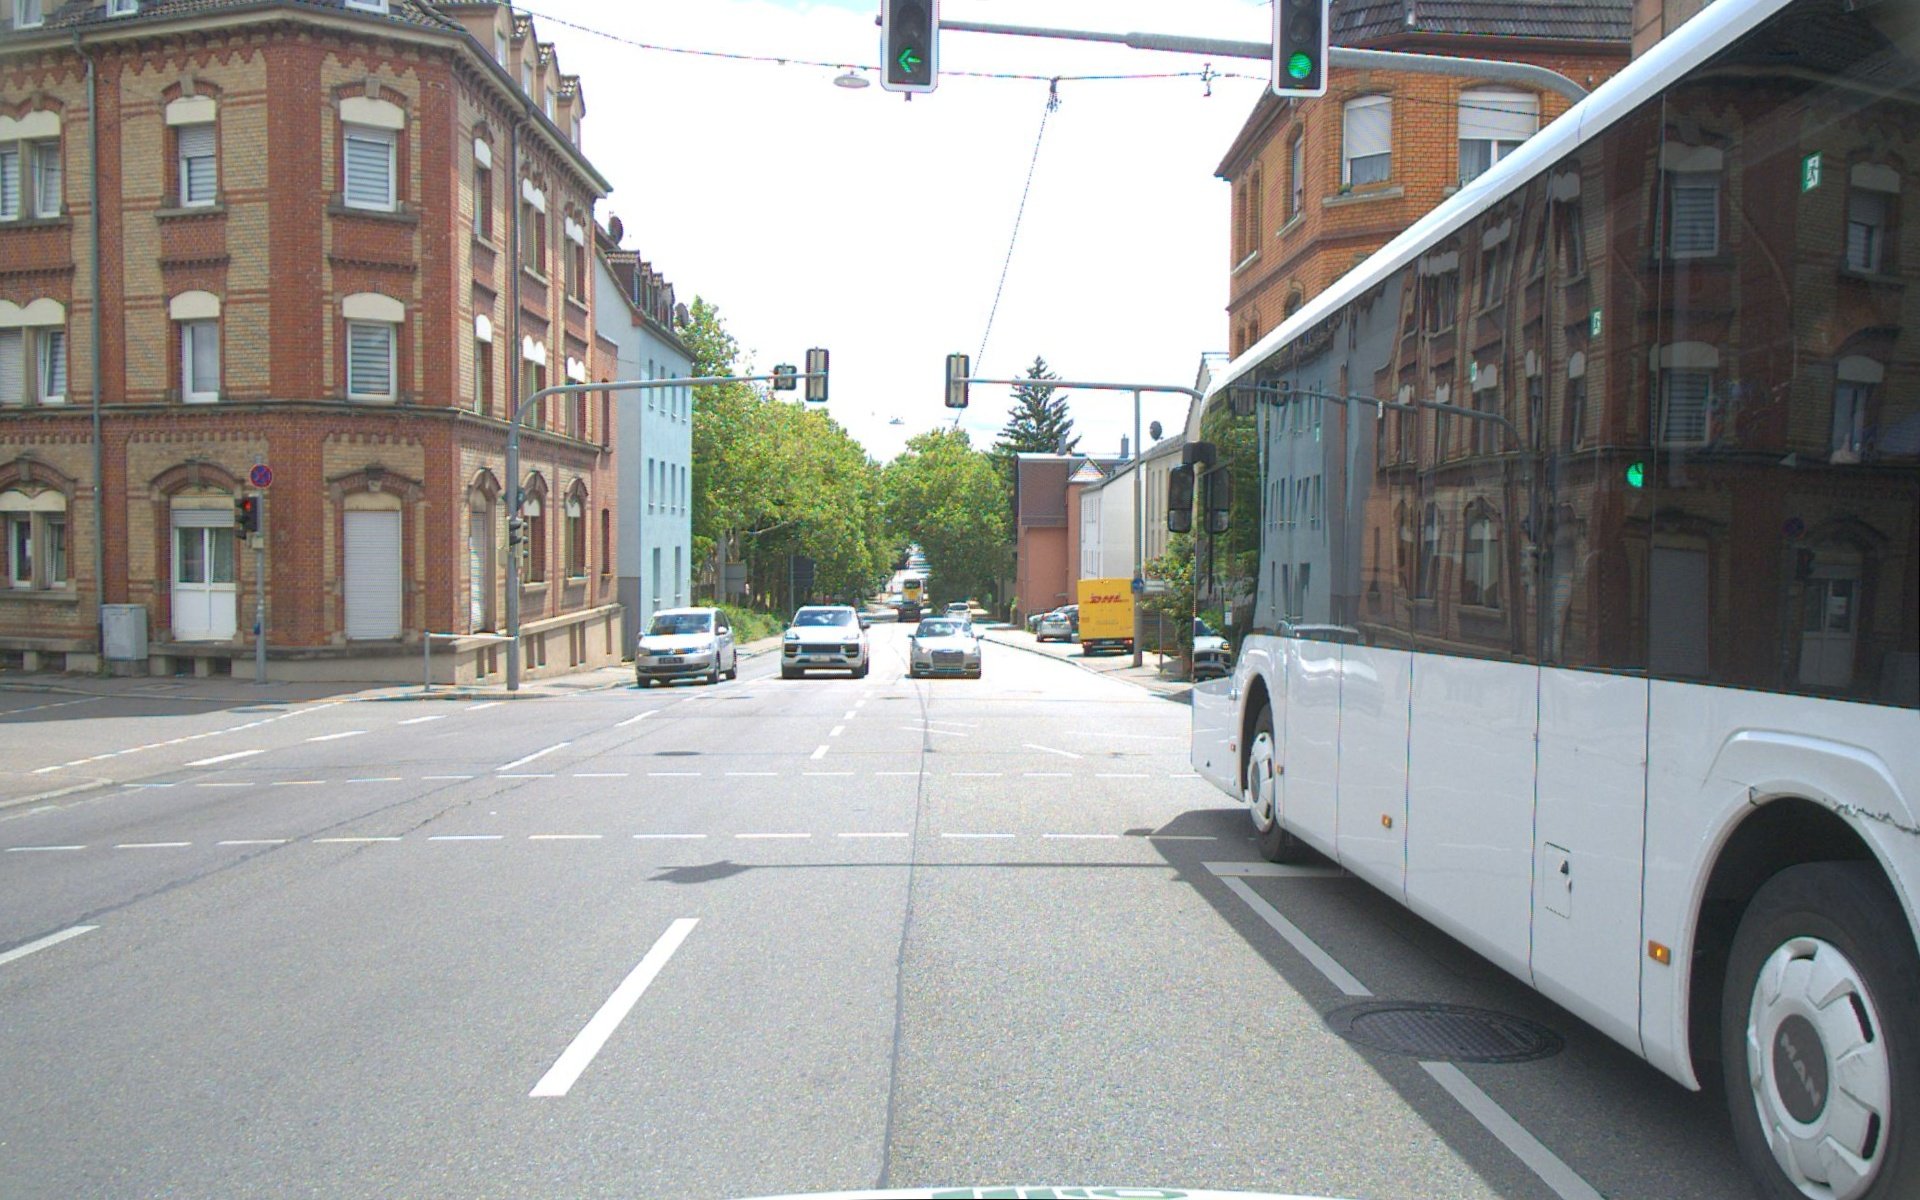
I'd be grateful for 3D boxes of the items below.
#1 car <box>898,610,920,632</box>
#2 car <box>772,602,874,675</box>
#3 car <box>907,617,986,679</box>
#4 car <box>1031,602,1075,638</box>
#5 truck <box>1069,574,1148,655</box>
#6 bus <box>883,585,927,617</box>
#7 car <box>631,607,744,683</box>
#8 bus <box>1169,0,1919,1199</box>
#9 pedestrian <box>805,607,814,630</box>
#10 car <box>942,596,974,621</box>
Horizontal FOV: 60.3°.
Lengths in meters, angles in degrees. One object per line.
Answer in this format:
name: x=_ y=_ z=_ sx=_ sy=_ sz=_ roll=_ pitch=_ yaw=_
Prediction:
car: x=-4.333 y=1.779 z=140.623 sx=1.782 sy=1.816 sz=3.999 roll=0 pitch=0 yaw=-1
car: x=-3.250 y=0.883 z=40.141 sx=2.162 sy=1.641 sz=4.546 roll=0 pitch=0 yaw=-1
car: x=-0.351 y=1.130 z=40.635 sx=1.827 sy=1.391 sz=4.546 roll=0 pitch=0 yaw=-1
car: x=4.868 y=1.043 z=87.135 sx=1.872 sy=1.848 sz=3.997 roll=0 pitch=0 yaw=-3
truck: x=5.904 y=0.575 z=65.001 sx=2.487 sy=2.964 sz=6.577 roll=1 pitch=-1 yaw=10
bus: x=-6.721 y=0.134 z=200.886 sx=3.243 sy=3.694 sz=11.207 roll=-1 pitch=0 yaw=-13
car: x=-6.089 y=0.968 z=37.420 sx=1.896 sy=1.591 sz=4.388 roll=0 pitch=0 yaw=-1
bus: x=3.197 y=-0.179 z=6.826 sx=2.845 sy=3.572 sz=12.484 roll=1 pitch=-1 yaw=-1
pedestrian: x=-11.861 y=1.422 z=130.280 sx=0.594 sy=1.789 sz=0.653 roll=-1 pitch=0 yaw=-2
car: x=-0.176 y=0.640 z=123.545 sx=2.050 sy=1.862 sz=4.139 roll=0 pitch=0 yaw=-4
